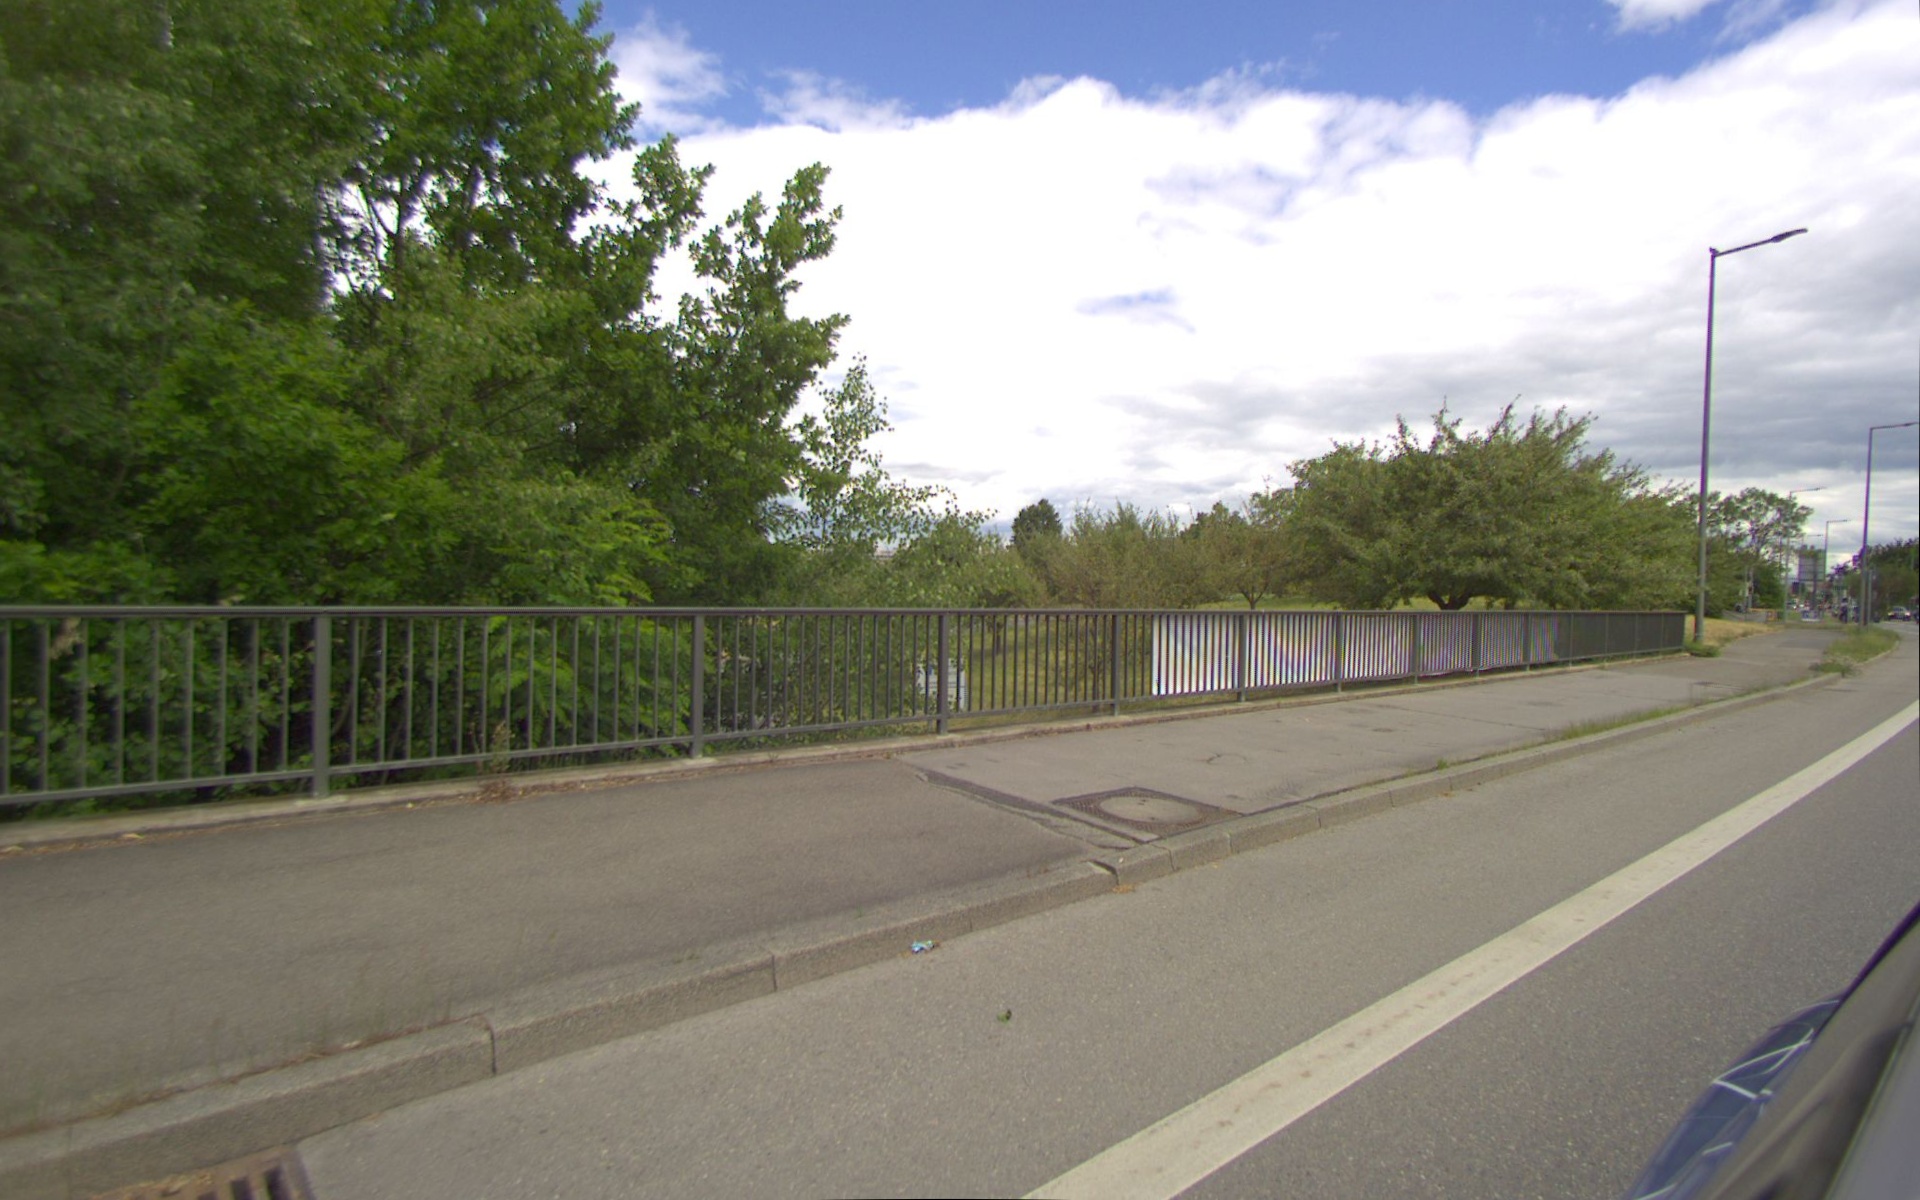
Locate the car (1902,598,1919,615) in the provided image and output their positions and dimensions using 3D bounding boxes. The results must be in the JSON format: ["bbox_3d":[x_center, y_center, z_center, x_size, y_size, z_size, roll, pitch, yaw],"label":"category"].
[{"bbox_3d":[98.142,0.691,103.905,1.865,1.716,4.308,1,0,40],"label":"car"}]

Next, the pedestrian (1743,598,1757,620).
[{"bbox_3d":[69.246,0.781,88.751,0.785,1.907,0.766,0,0,-34],"label":"pedestrian"}]

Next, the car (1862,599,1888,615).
[{"bbox_3d":[87.764,0.667,97.089,1.729,1.459,4.305,1,0,40],"label":"car"}]
